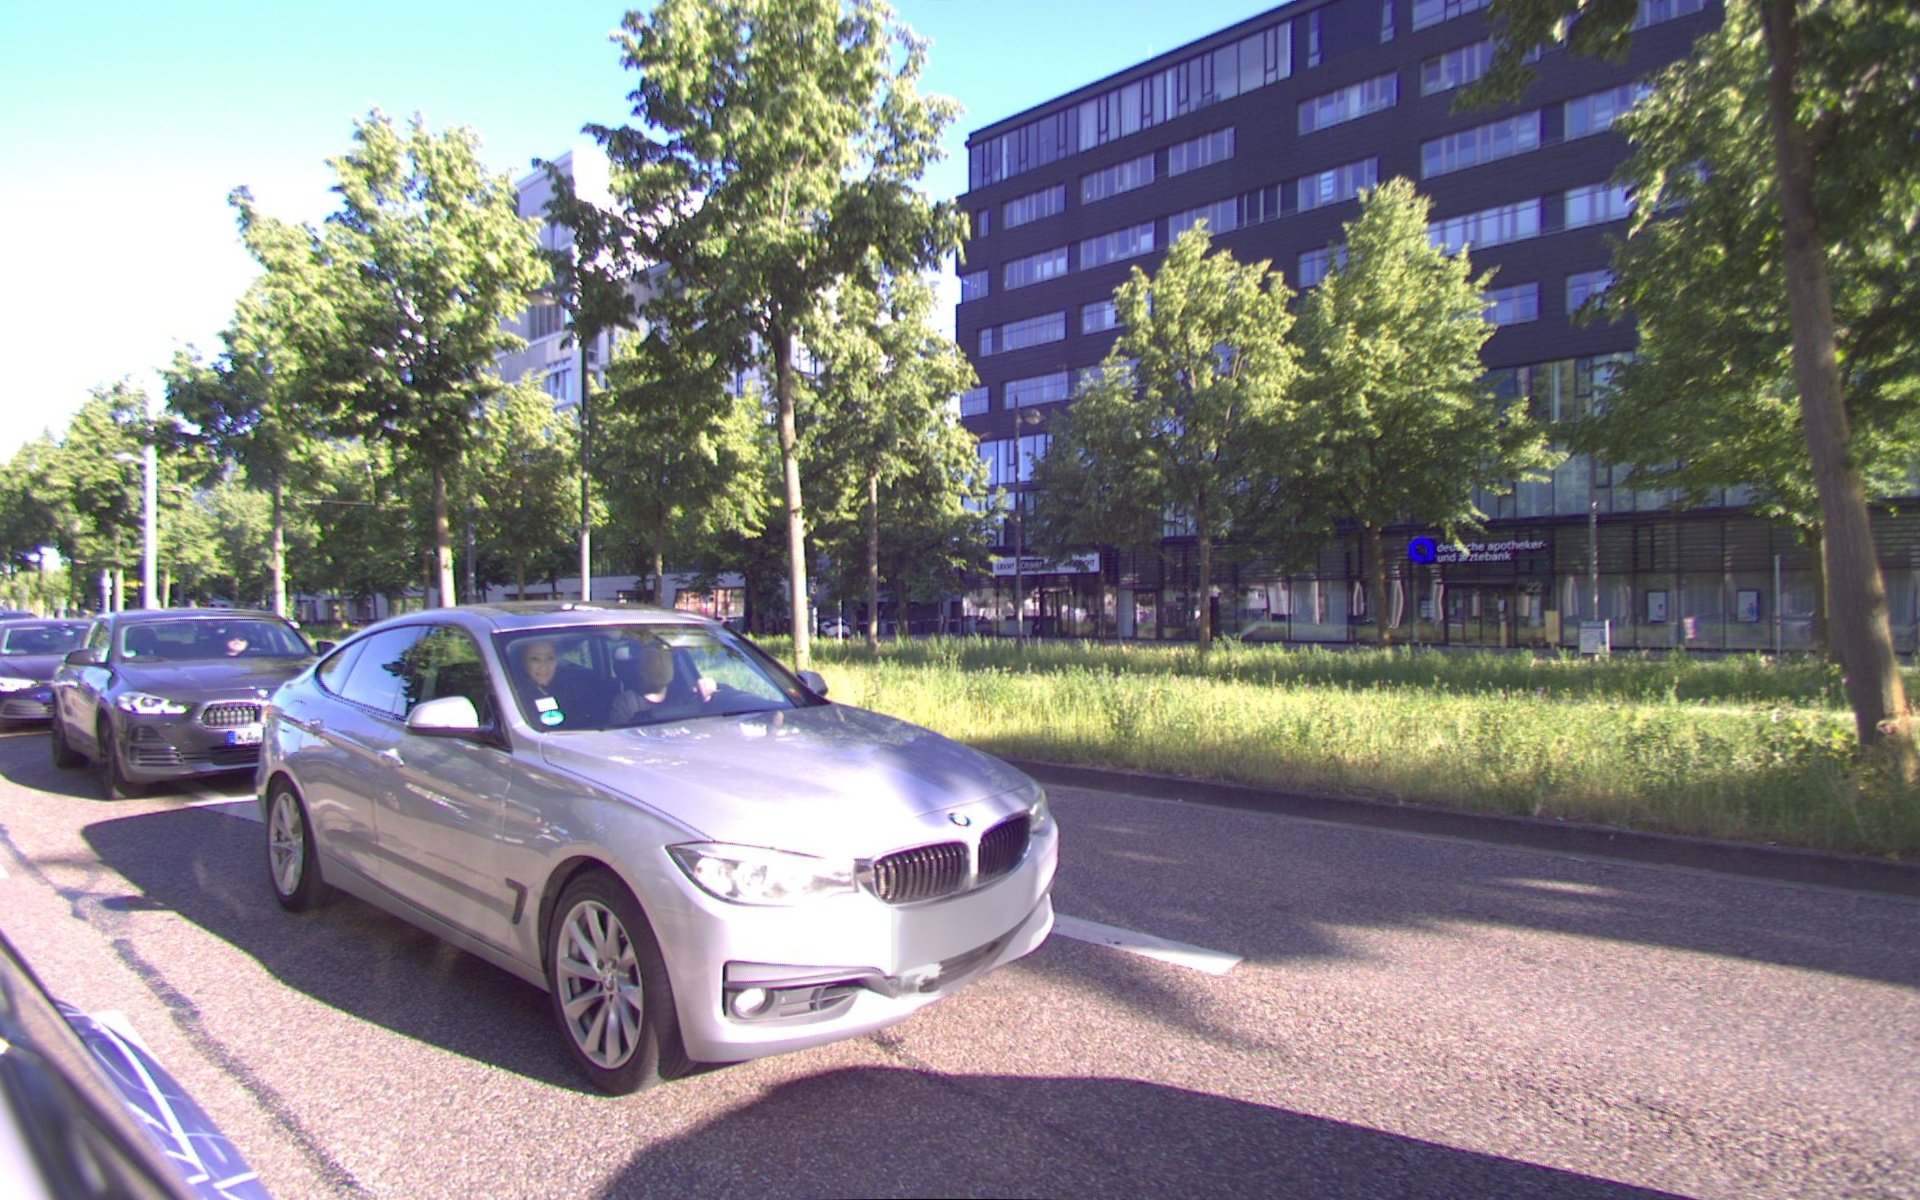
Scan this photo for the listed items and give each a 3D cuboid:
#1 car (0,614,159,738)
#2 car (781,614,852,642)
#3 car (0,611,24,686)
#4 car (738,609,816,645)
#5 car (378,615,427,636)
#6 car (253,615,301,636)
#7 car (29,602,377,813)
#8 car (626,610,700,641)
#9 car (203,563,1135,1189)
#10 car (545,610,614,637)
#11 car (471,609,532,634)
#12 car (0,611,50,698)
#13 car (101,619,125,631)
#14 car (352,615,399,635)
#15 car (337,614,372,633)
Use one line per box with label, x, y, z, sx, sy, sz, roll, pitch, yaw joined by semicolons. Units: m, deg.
car;-12.603;0.940;13.920;4.253;1.465;1.789;-1;-1;42
car;-8.040;1.542;56.406;3.998;1.516;1.734;-1;-1;41
car;-24.340;1.146;24.415;4.788;1.711;1.987;-1;-1;40
car;-9.398;1.343;51.755;3.998;1.762;1.834;-1;-1;41
car;-45.944;2.093;83.369;4.788;1.711;1.987;-1;-1;40
car;-51.578;1.910;76.370;4.733;1.549;1.835;-1;-1;41
car;-7.131;0.811;9.386;4.026;1.534;1.789;-1;-1;41
car;-17.209;1.460;58.604;4.790;1.697;1.834;-1;-1;41
car;-1.724;0.695;4.655;4.738;1.500;1.790;-1;-1;40
car;-24.653;1.494;65.478;4.784;1.711;1.988;-1;-1;37
car;-32.649;1.546;72.023;4.784;1.711;1.988;-1;-1;37
car;-19.429;1.031;19.970;4.164;1.602;1.789;-1;-1;42
car;-100.087;2.927;119.560;3.998;1.403;1.644;-1;-1;41
car;-50.343;2.132;87.155;4.788;1.711;1.987;-1;-1;40
car;-54.012;2.094;90.293;3.741;1.682;1.581;-1;-1;41
